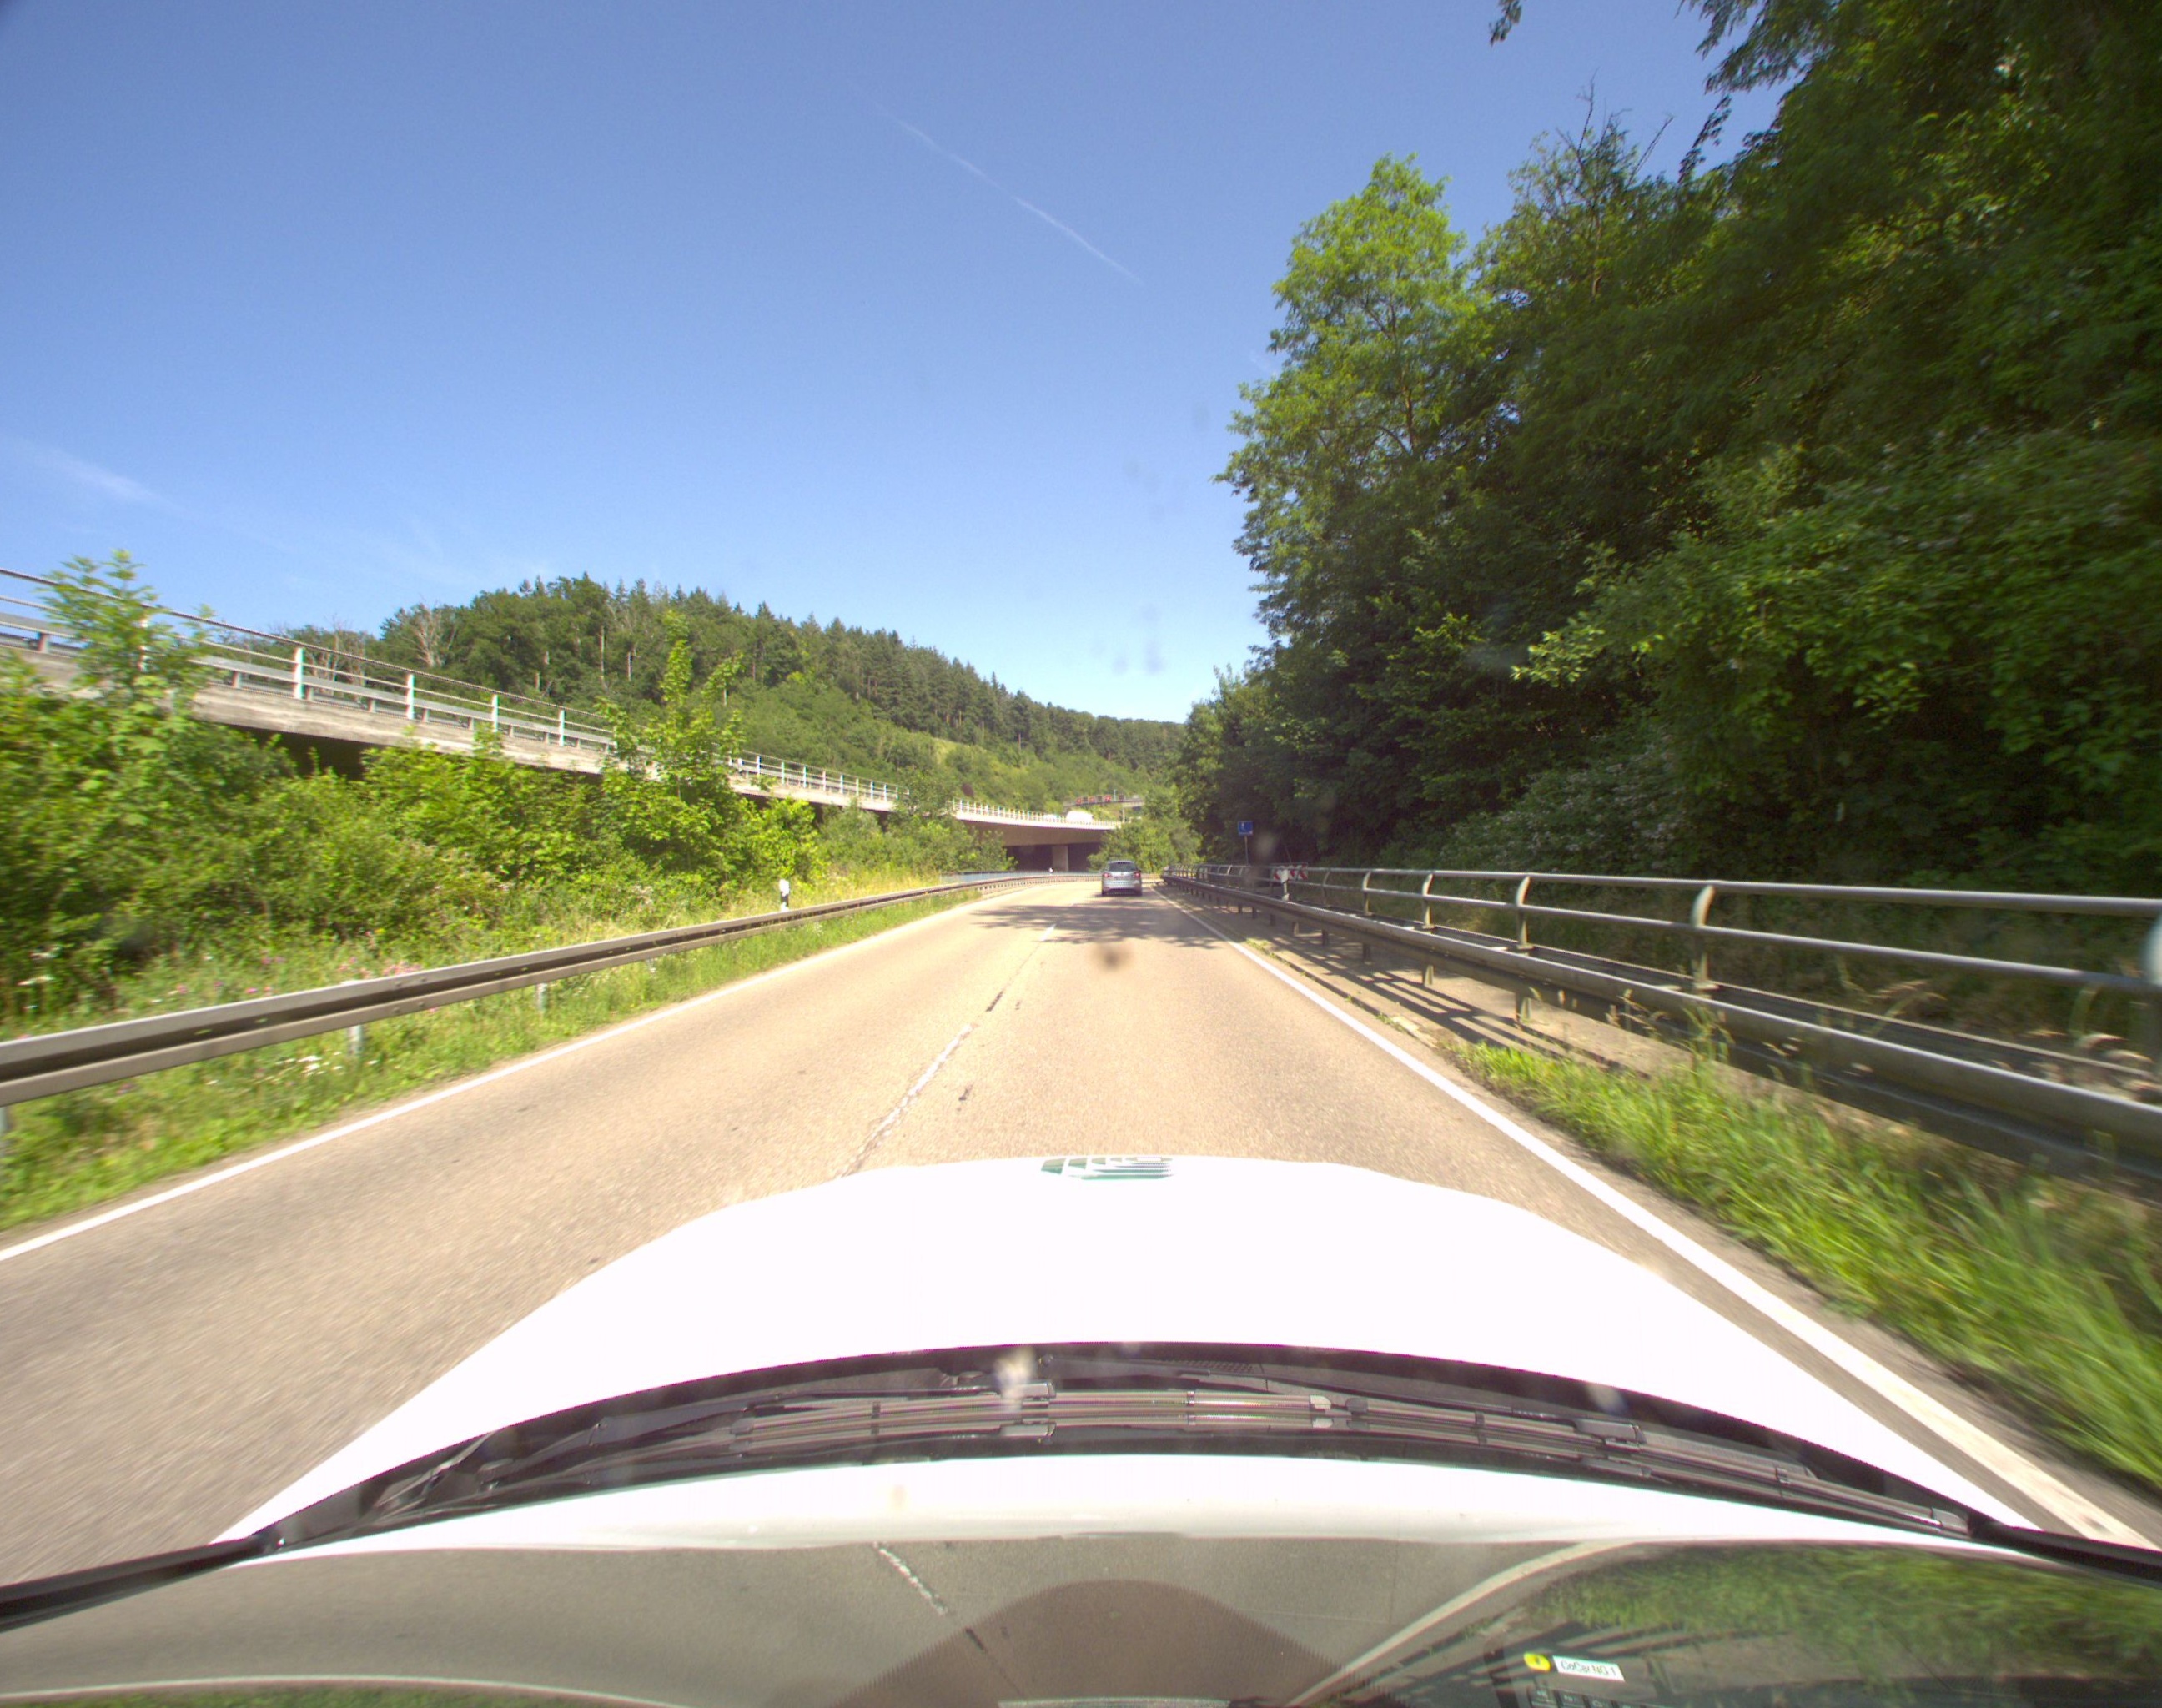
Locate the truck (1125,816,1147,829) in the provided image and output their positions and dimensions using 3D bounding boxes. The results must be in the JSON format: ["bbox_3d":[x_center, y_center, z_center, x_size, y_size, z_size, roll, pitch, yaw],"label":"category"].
[{"bbox_3d":[15.404,-8.804,227.272,3.730,3.384,10.553,-1,1,16],"label":"truck"}]

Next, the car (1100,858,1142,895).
[{"bbox_3d":[1.743,0.959,36.179,1.744,1.520,4.161,-1,0,2],"label":"car"}]

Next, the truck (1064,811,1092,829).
[{"bbox_3d":[-0.619,-7.006,169.697,3.346,3.354,10.215,-1,0,14],"label":"truck"}]
